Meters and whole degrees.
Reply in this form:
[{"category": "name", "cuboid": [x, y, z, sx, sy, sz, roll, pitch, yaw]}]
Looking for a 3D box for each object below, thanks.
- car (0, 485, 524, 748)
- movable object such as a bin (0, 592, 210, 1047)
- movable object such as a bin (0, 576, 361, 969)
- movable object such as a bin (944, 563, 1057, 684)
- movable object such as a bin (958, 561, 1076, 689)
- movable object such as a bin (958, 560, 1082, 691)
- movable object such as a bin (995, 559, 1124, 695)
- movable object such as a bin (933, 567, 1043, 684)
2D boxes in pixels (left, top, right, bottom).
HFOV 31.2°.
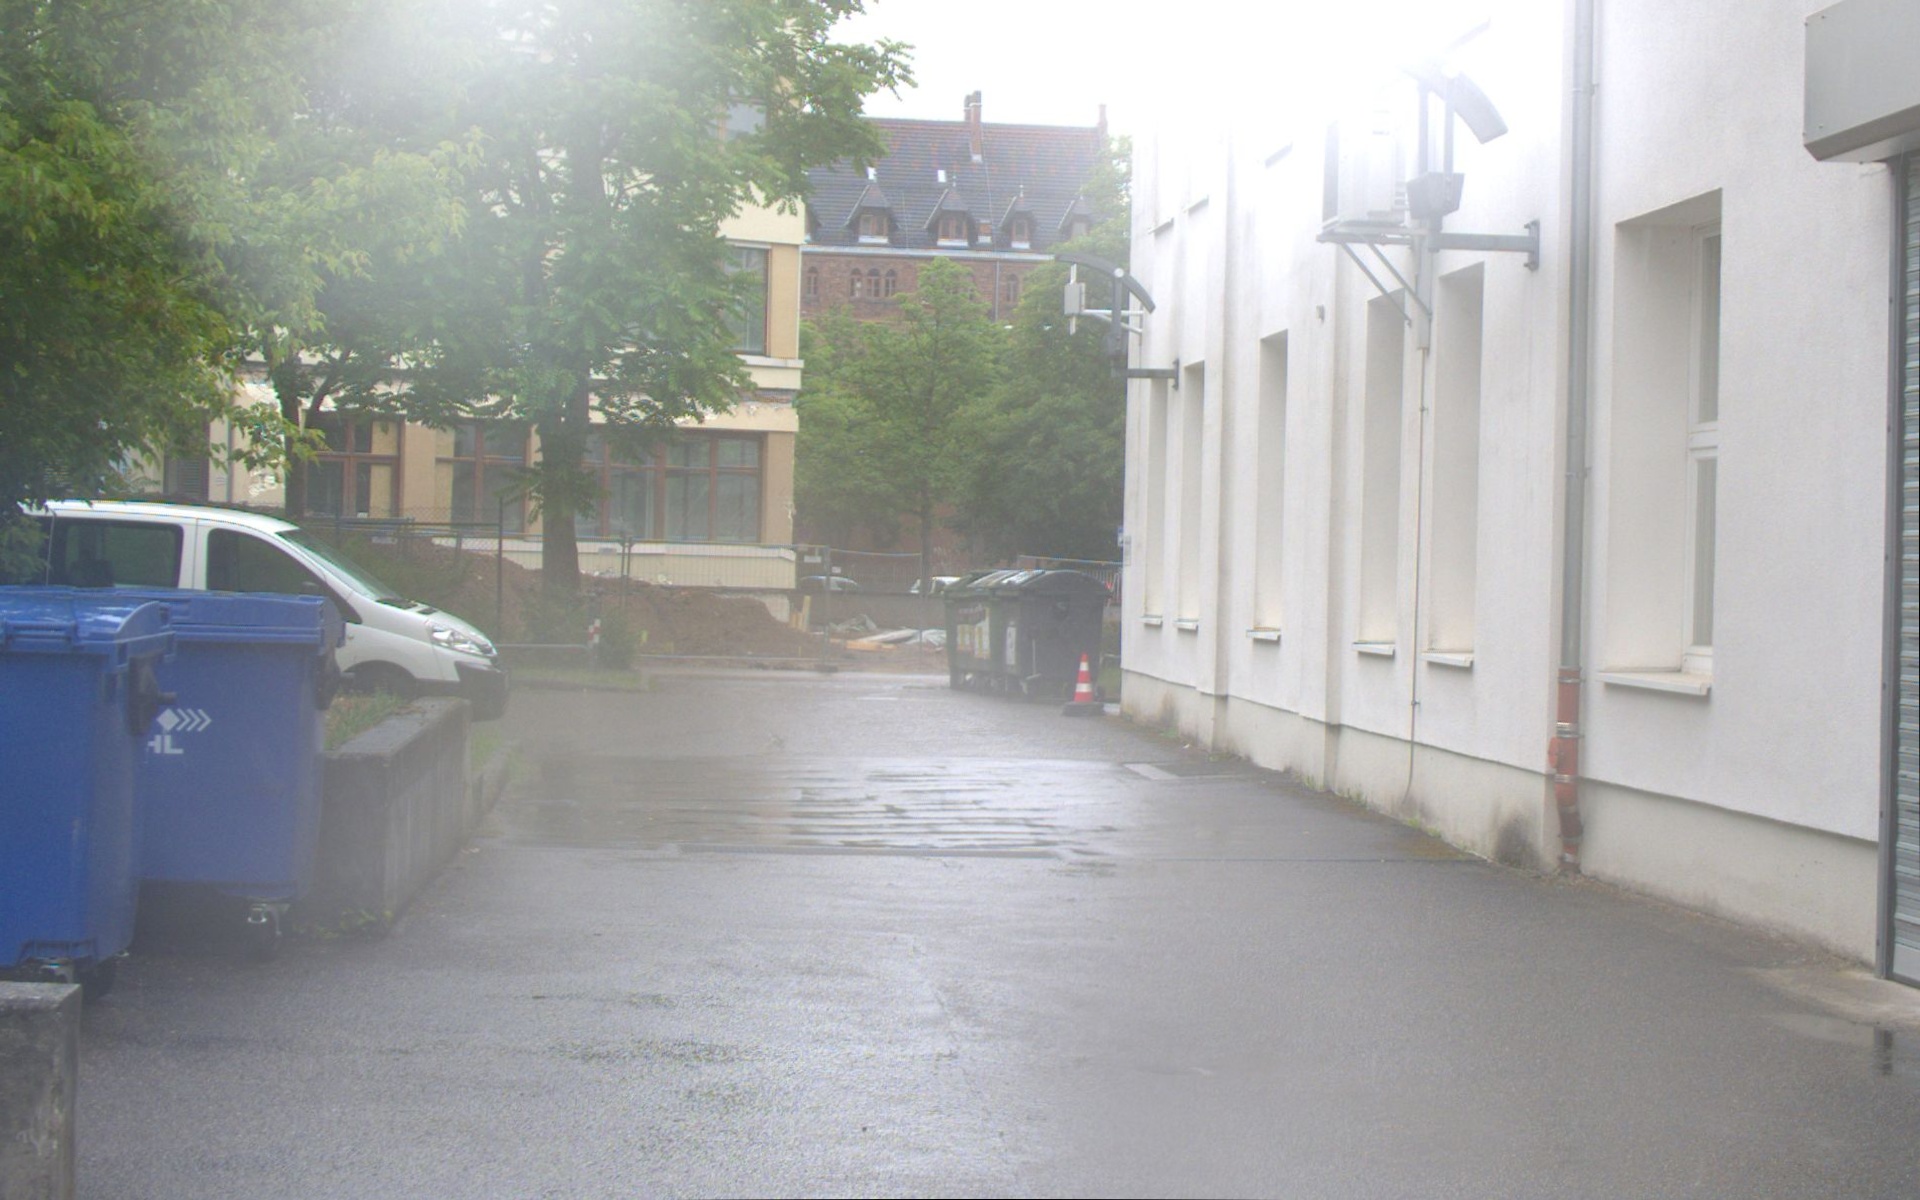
[{"category": "car", "cuboid": [-5.992, 0.108, 27.728, 4.779, 2.007, 2.000, 1, 1, -4]}, {"category": "movable object such as a bin", "cuboid": [-3.093, 0.646, 10.798, 1.202, 1.332, 1.117, 2, 0, 0]}, {"category": "movable object such as a bin", "cuboid": [-2.866, 0.603, 12.517, 1.221, 1.332, 1.007, 1, 1, -4]}, {"category": "movable object such as a bin", "cuboid": [0.488, 0.305, 42.333, 1.214, 1.432, 1.259, 2, -2, -6]}, {"category": "movable object such as a bin", "cuboid": [0.671, 0.307, 40.966, 1.214, 1.463, 1.236, 2, -2, -7]}, {"category": "movable object such as a bin", "cuboid": [0.678, 0.303, 39.326, 1.214, 1.432, 1.294, 2, -2, -6]}, {"category": "movable object such as a bin", "cuboid": [1.080, 0.305, 37.664, 1.214, 1.432, 1.236, 2, -2, -7]}, {"category": "movable object such as a bin", "cuboid": [0.343, 0.339, 43.704, 1.214, 1.432, 1.259, 2, -2, -6]}]
